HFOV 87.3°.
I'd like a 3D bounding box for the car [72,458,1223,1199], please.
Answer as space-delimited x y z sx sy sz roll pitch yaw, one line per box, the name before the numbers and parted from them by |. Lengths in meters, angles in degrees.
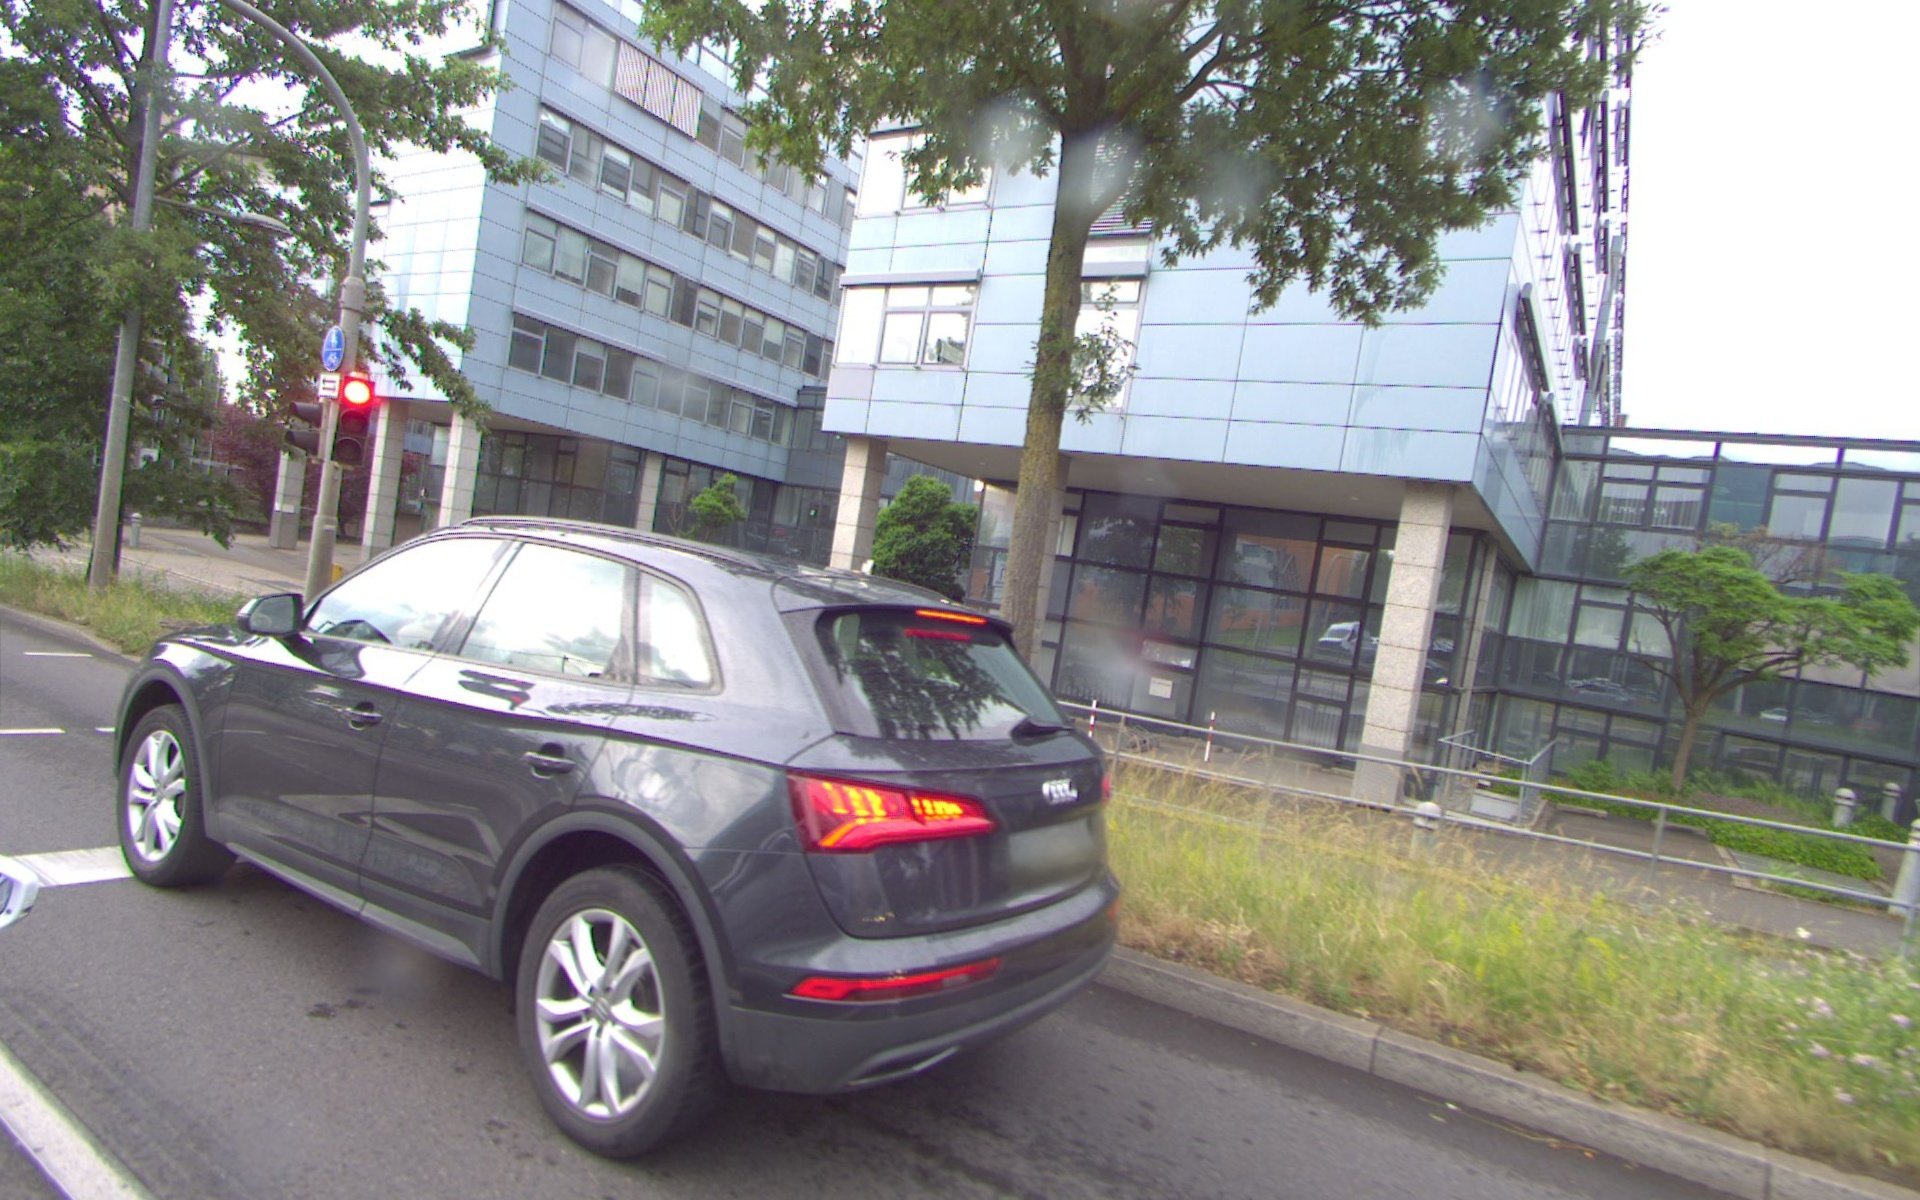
car | -1.467 0.500 4.029 4.396 1.632 1.821 7 -1 32
